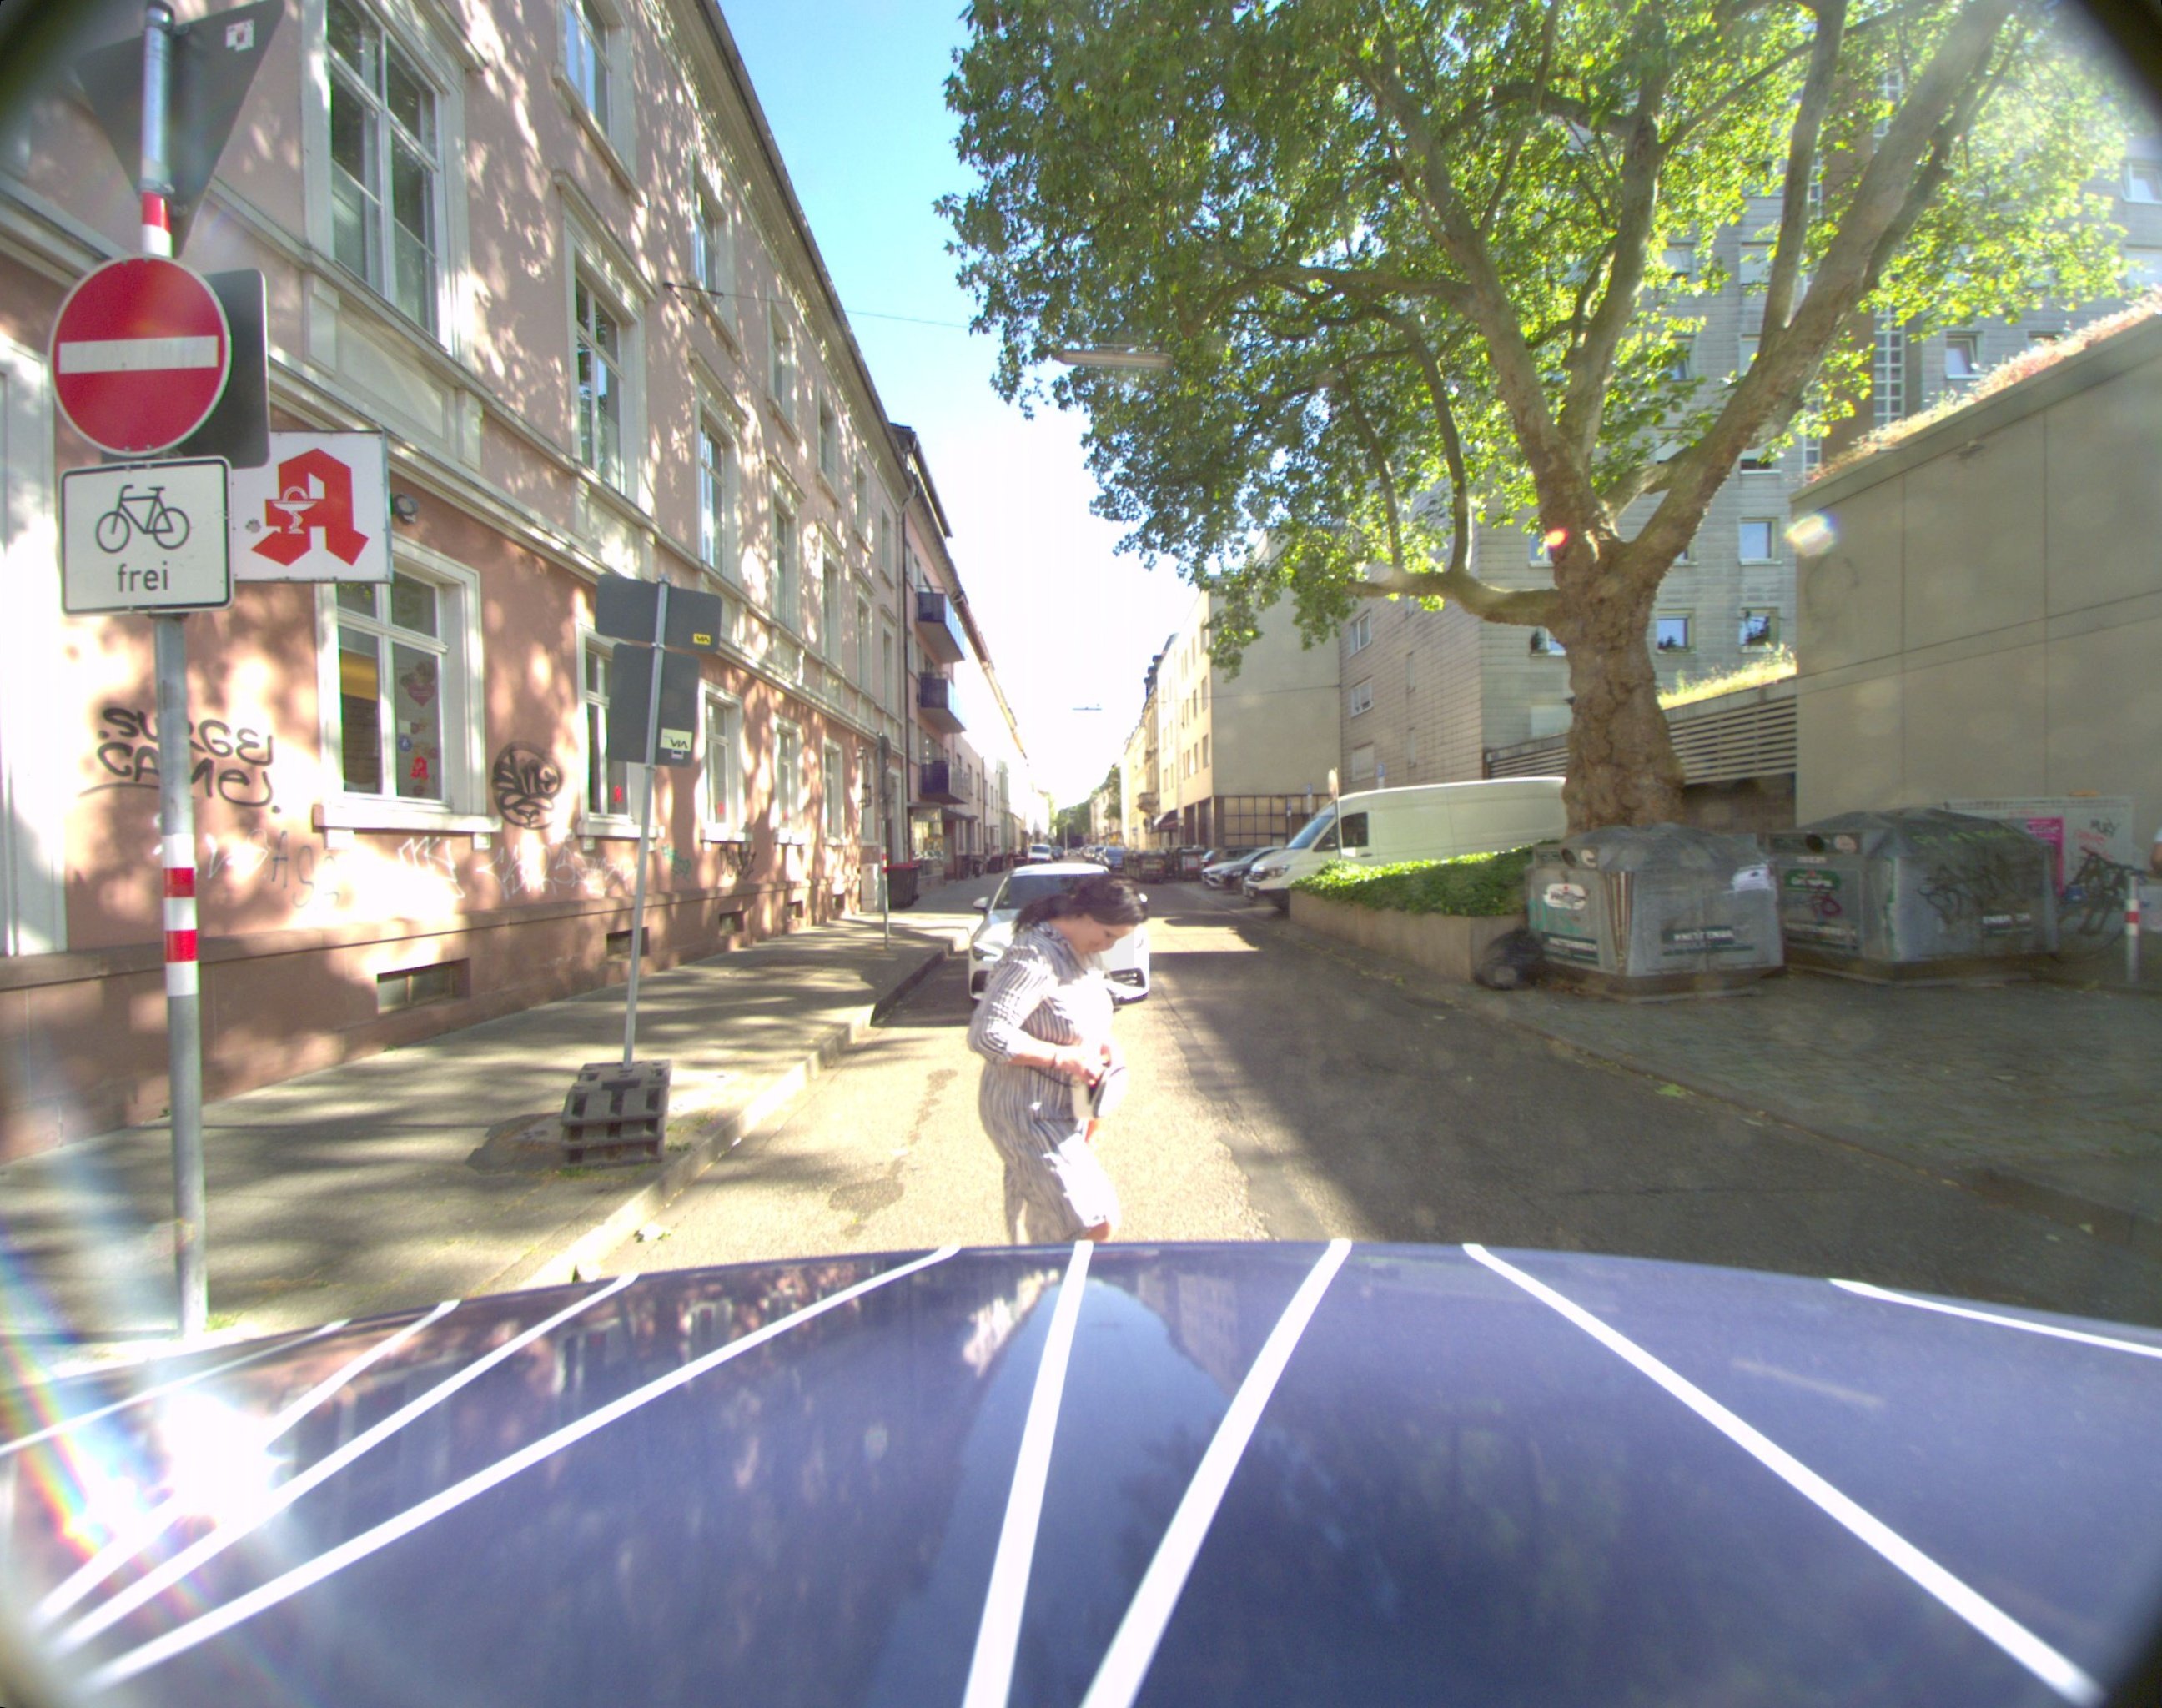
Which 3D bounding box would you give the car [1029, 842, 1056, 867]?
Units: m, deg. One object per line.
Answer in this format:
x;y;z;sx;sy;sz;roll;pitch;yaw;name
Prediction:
-2.914;0.002;58.612;1.765;1.843;4.327;-1;1;0;car

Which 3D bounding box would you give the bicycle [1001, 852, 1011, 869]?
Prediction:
-5.168;0.453;52.549;0.490;1.090;1.932;-1;1;0;bicycle

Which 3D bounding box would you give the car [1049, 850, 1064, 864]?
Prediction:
-3.112;0.340;97.046;1.765;1.698;4.327;-1;1;-1;car

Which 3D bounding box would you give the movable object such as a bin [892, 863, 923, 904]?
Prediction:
-4.800;0.802;21.049;0.718;1.078;0.618;2;1;-2;movable object such as a bin

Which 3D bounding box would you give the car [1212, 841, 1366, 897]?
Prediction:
6.614;0.443;24.343;4.417;1.607;1.698;-1;1;-7;car

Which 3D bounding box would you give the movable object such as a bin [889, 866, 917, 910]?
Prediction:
-4.462;0.847;19.062;0.570;1.052;0.611;2;1;-2;movable object such as a bin

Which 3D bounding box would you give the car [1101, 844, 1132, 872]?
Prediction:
2.239;0.195;49.245;1.765;1.698;4.327;-1;1;0;car

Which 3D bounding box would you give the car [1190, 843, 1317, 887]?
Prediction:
6.575;0.400;29.156;4.417;1.524;1.698;-1;1;-7;car

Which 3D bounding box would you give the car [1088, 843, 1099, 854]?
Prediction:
2.163;-0.948;129.530;1.765;1.698;4.327;-1;1;-1;car

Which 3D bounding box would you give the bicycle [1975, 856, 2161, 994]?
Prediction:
9.519;0.617;6.888;0.806;1.146;1.714;-4;1;-32;bicycle

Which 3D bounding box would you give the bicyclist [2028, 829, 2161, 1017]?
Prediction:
9.135;0.576;6.776;0.534;1.575;0.705;-2;1;-15;bicyclist

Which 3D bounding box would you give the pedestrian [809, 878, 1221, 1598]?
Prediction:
-0.208;0.903;2.165;0.847;1.564;0.845;4;2;-9;pedestrian

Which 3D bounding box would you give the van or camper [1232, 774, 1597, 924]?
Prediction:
7.017;-0.102;16.538;6.923;2.559;2.000;-4;1;0;van or camper

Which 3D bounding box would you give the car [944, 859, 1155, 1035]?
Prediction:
-0.279;0.869;9.219;1.862;1.448;4.562;-2;1;0;car

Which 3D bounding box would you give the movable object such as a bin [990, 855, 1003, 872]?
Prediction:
-5.015;0.565;45.029;0.717;0.996;0.546;2;1;-2;movable object such as a bin

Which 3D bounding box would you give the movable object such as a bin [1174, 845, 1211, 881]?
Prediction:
4.755;0.374;32.555;1.328;1.492;1.194;-1;1;-3;movable object such as a bin

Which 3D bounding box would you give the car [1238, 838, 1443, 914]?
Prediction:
6.295;0.513;18.751;4.415;1.525;1.698;-3;1;-1;car

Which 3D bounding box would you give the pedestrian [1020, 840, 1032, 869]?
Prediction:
-3.827;0.016;52.746;0.761;2.002;0.771;-1;1;0;pedestrian

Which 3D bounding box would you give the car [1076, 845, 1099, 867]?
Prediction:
0.505;0.129;60.548;1.765;1.698;4.327;-1;1;0;car

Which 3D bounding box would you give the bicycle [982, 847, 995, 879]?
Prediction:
-5.159;0.489;42.548;0.402;1.726;2.106;-1;1;0;bicycle

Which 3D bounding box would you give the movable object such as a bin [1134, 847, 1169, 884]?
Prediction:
3.045;0.473;33.092;1.241;1.492;1.876;-2;1;-3;movable object such as a bin

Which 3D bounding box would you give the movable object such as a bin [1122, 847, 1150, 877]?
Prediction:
2.799;0.403;38.904;1.222;1.492;1.559;-1;1;-3;movable object such as a bin

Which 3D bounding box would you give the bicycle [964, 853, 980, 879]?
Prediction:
-4.977;0.532;34.817;0.402;1.144;2.024;-1;1;0;bicycle

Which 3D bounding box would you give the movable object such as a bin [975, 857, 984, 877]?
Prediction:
-4.990;0.646;37.397;0.416;0.935;0.302;2;1;-2;movable object such as a bin

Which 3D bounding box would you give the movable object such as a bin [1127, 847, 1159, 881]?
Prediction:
2.881;0.443;35.511;1.247;1.492;1.924;-1;1;-3;movable object such as a bin

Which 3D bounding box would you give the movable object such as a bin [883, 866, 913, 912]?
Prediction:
-4.440;0.846;18.466;0.570;1.078;0.654;2;1;-2;movable object such as a bin

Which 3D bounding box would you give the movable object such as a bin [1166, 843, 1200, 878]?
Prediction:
4.559;0.285;33.951;1.222;1.492;1.517;-1;1;-3;movable object such as a bin

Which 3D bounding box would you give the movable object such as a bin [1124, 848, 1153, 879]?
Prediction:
2.798;0.445;37.326;1.222;1.492;1.559;-1;1;-3;movable object such as a bin

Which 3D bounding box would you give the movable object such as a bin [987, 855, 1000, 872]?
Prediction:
-5.118;0.551;44.434;0.717;0.996;0.546;2;1;-2;movable object such as a bin

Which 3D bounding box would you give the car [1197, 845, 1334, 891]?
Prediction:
6.477;0.464;26.838;4.417;1.454;1.599;-1;1;-7;car

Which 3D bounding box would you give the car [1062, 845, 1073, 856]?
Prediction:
-2.198;-0.626;122.492;1.765;1.698;4.327;-1;1;-1;car
